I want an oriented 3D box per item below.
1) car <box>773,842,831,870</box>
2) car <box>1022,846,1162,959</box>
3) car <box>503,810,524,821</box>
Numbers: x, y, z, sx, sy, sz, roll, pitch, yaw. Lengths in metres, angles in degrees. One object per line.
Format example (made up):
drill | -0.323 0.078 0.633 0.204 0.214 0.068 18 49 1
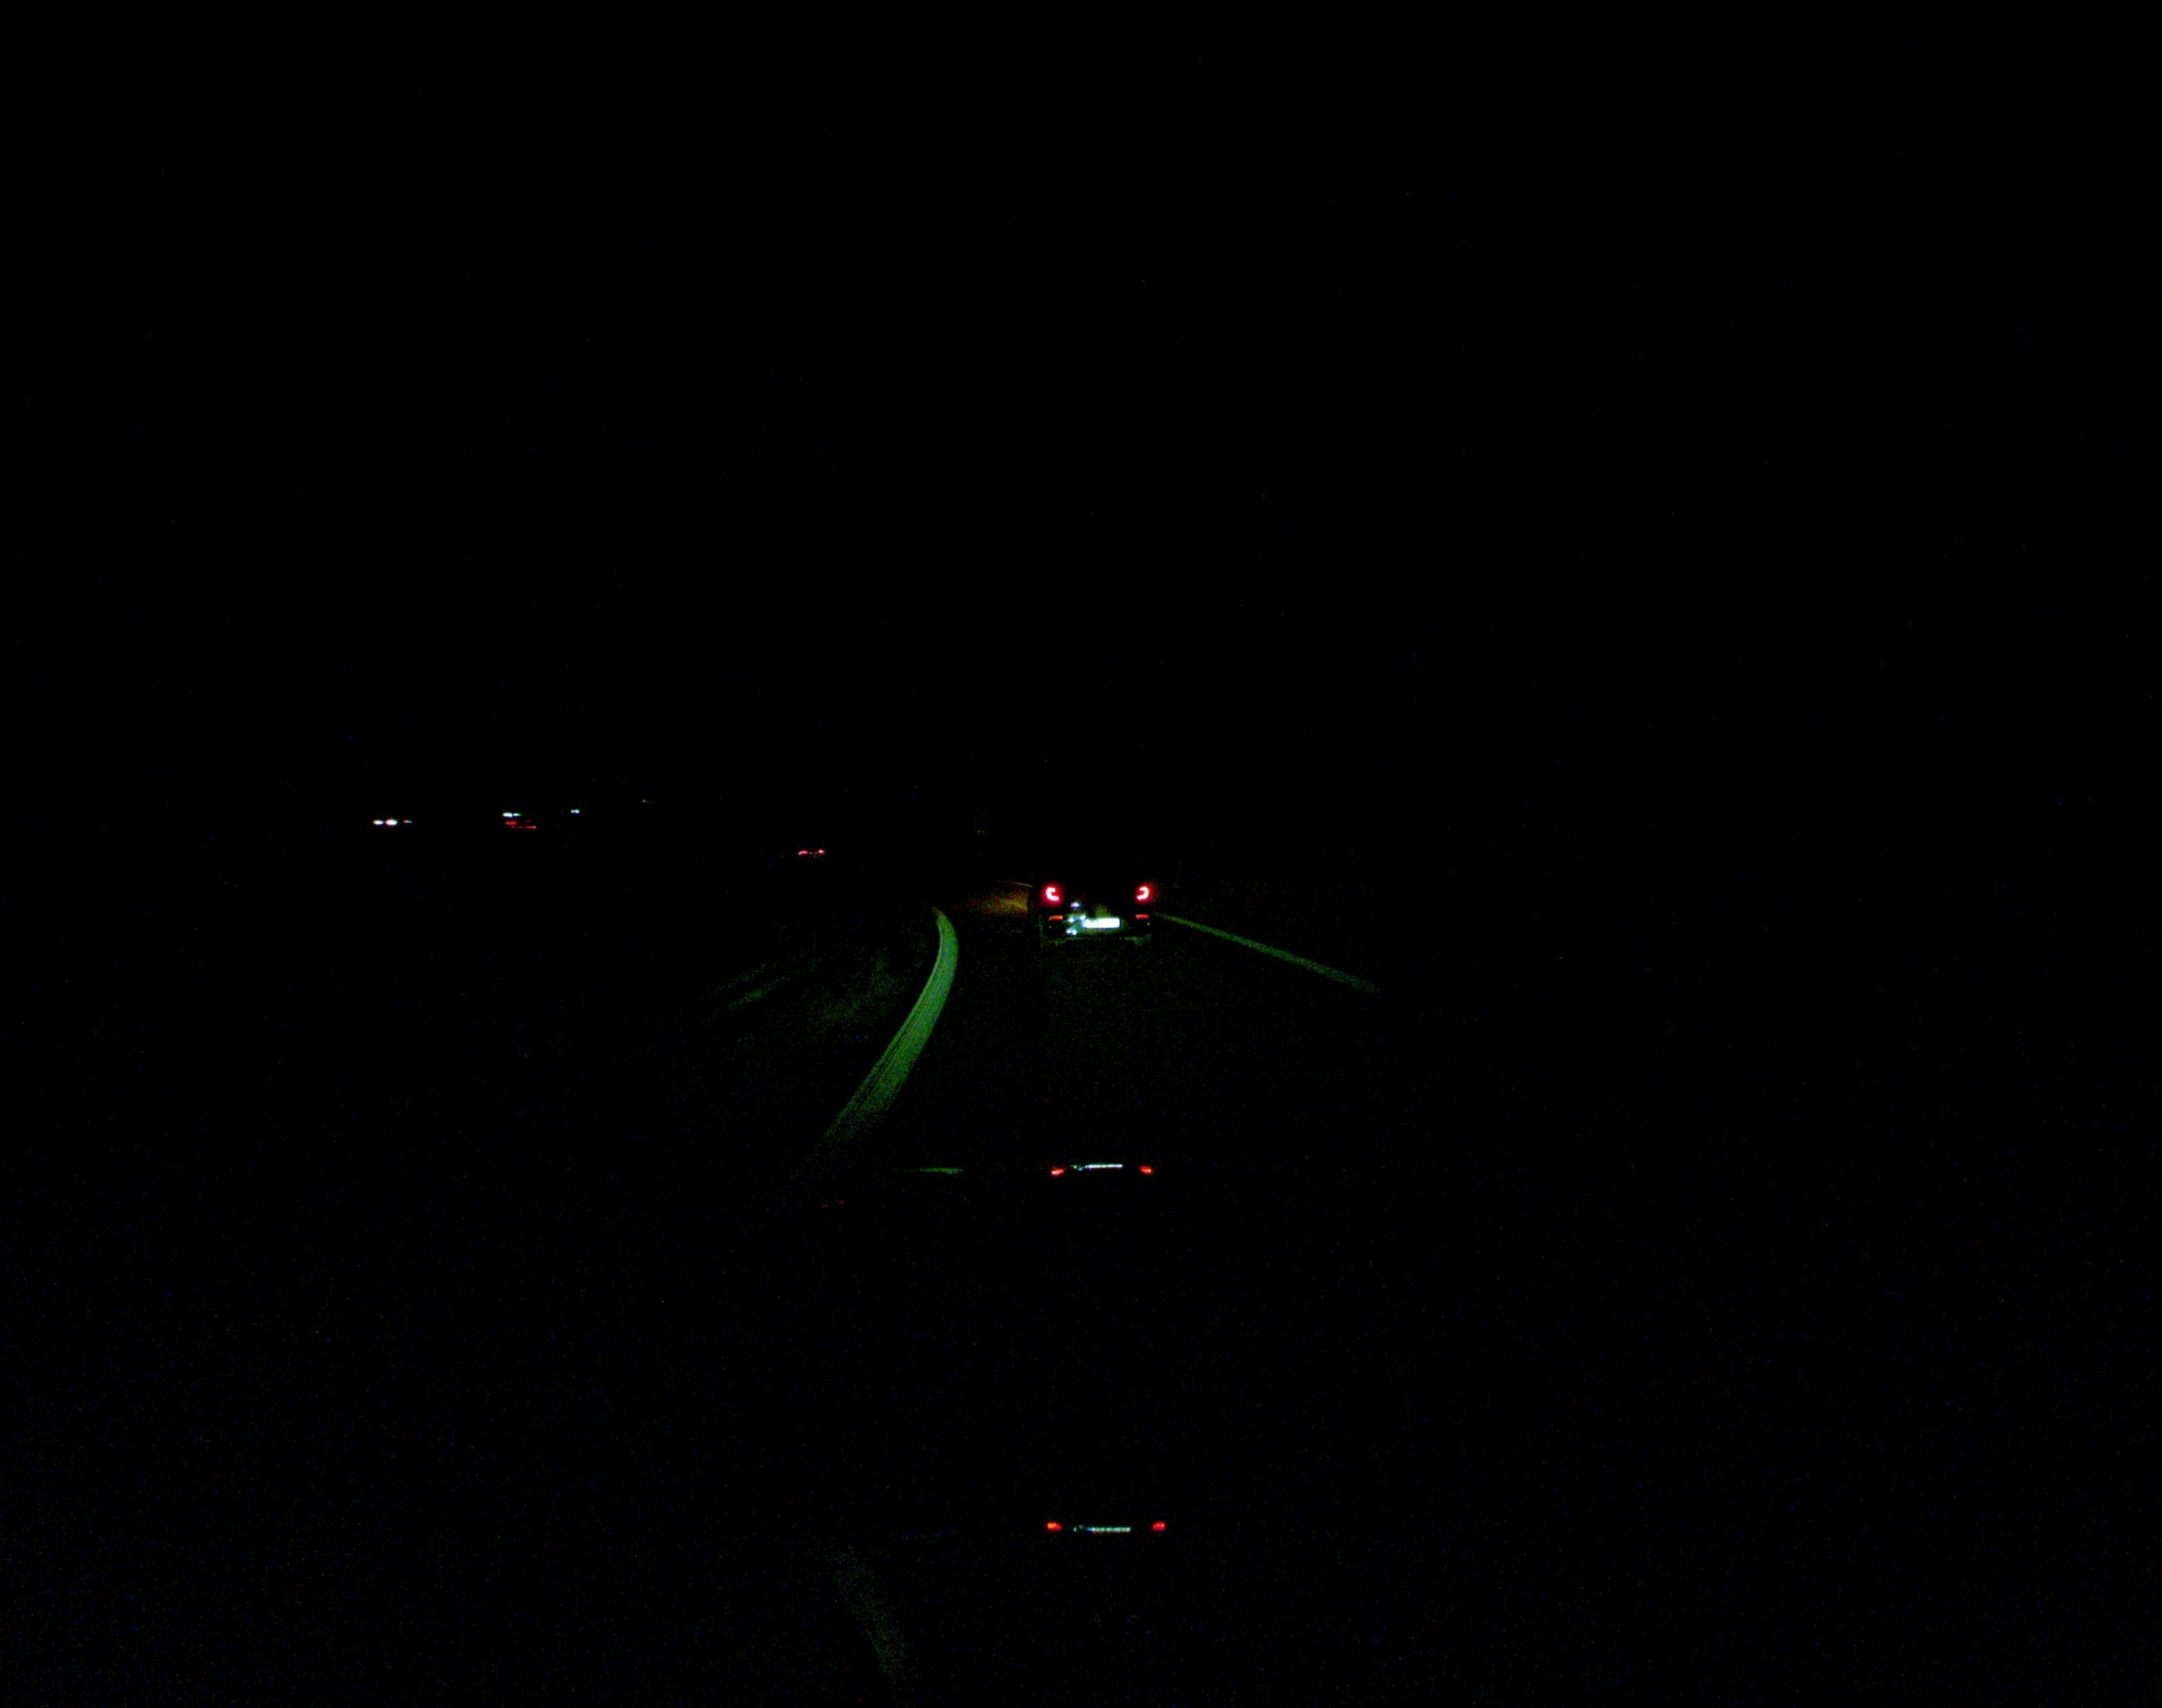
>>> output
car | -17.622 0.076 51.370 1.968 1.537 4.191 -5 4 -40
car | 0.013 0.700 13.243 1.690 1.478 3.989 -2 -1 -7
car | -94.415 -6.410 135.544 1.816 1.885 3.976 -1 4 -19
